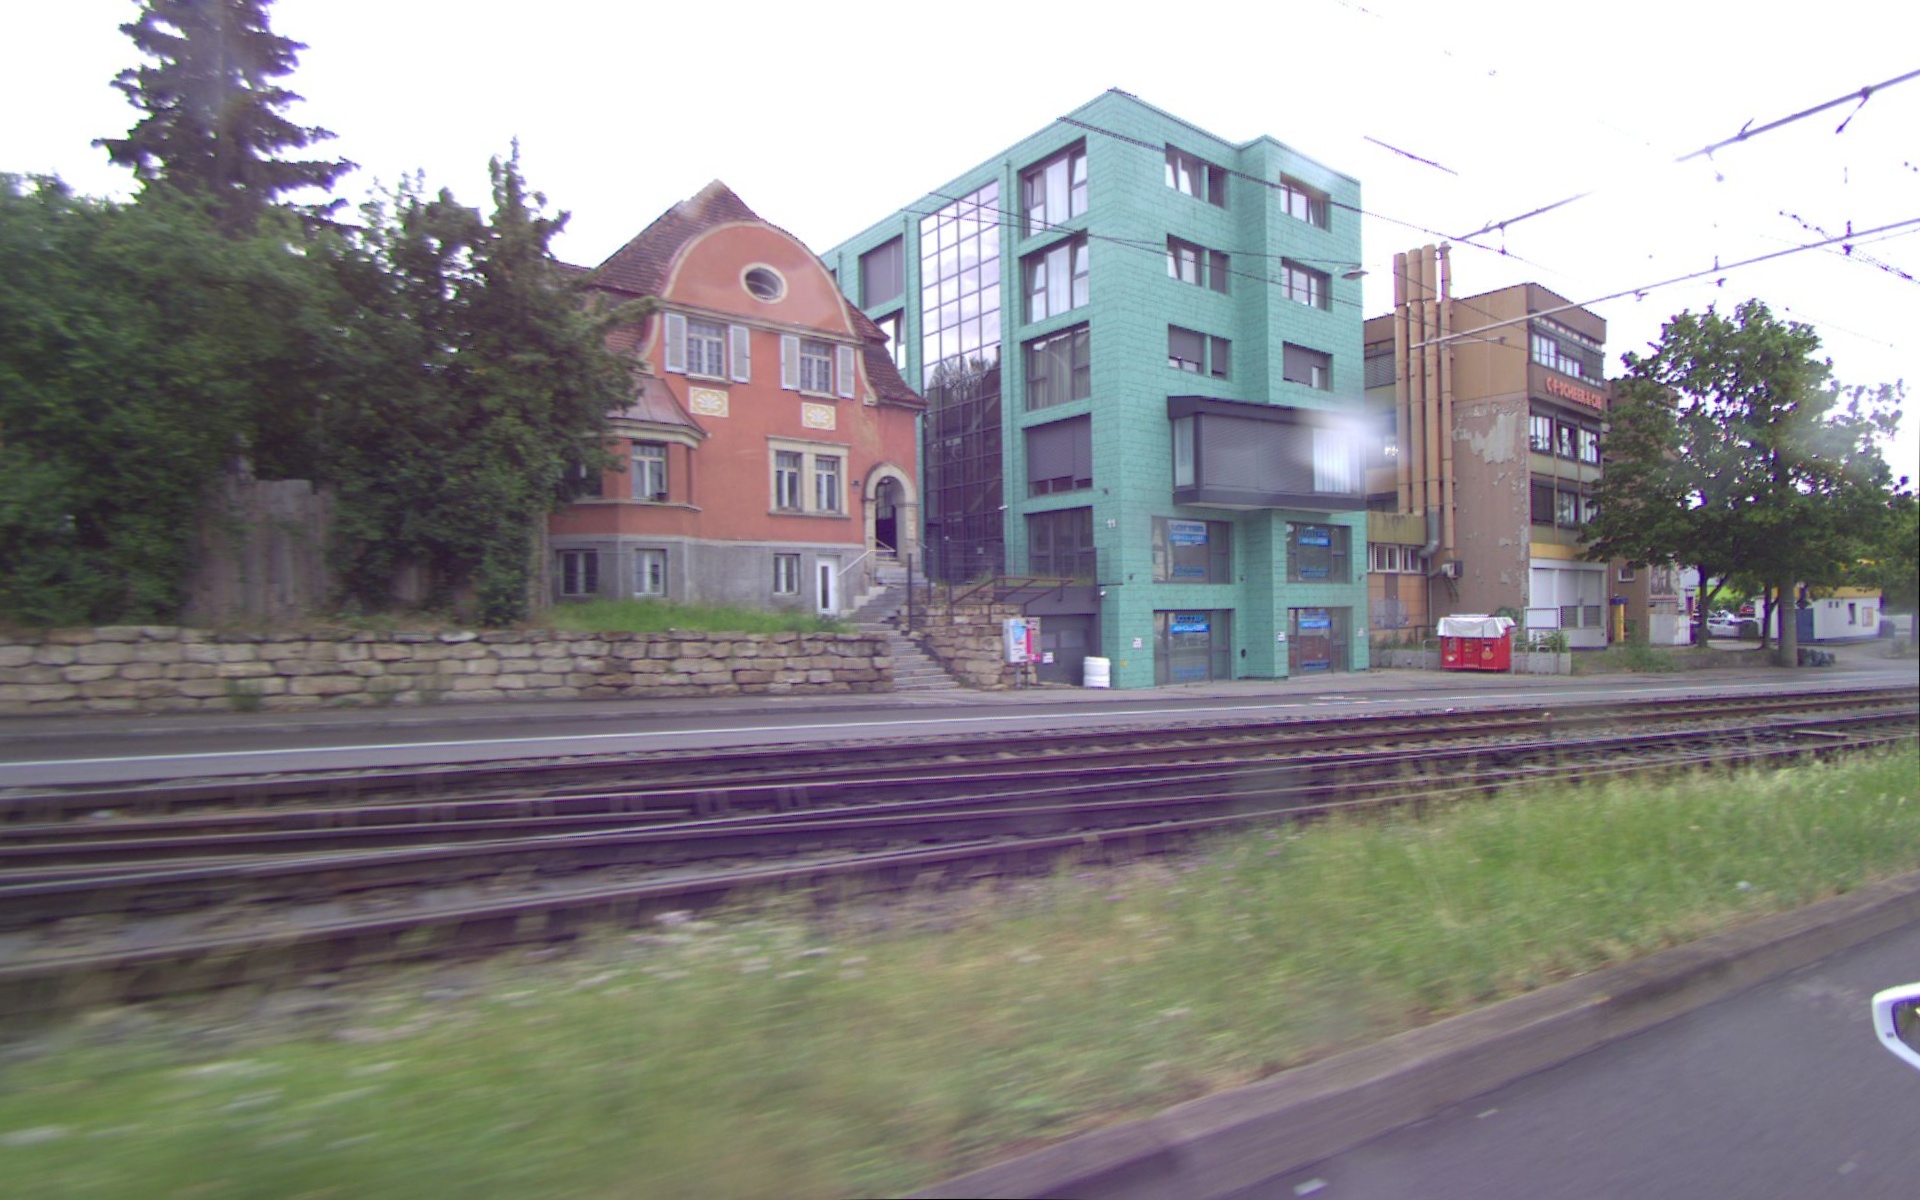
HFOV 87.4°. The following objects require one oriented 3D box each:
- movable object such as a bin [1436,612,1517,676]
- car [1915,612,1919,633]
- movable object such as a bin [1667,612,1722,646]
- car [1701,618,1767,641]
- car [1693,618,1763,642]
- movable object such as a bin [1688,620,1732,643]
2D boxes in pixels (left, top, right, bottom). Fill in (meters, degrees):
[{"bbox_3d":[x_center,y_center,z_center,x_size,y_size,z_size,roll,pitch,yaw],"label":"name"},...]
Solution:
[{"bbox_3d":[19.111,1.579,37.211,1.786,2.186,2.117,-1,2,-38],"label":"movable object such as a bin"},{"bbox_3d":[69.767,1.624,71.305,3.956,1.461,1.982,1,1,-32],"label":"car"},{"bbox_3d":[45.037,1.742,61.555,3.543,1.945,1.976,-1,2,-41],"label":"movable object such as a bin"},{"bbox_3d":[56.786,2.174,73.735,3.714,1.499,1.570,2,1,35],"label":"car"},{"bbox_3d":[53.231,2.054,69.702,3.714,1.473,1.547,2,1,35],"label":"car"},{"bbox_3d":[48.349,2.022,64.741,1.557,1.394,1.976,-1,2,-41],"label":"movable object such as a bin"}]
